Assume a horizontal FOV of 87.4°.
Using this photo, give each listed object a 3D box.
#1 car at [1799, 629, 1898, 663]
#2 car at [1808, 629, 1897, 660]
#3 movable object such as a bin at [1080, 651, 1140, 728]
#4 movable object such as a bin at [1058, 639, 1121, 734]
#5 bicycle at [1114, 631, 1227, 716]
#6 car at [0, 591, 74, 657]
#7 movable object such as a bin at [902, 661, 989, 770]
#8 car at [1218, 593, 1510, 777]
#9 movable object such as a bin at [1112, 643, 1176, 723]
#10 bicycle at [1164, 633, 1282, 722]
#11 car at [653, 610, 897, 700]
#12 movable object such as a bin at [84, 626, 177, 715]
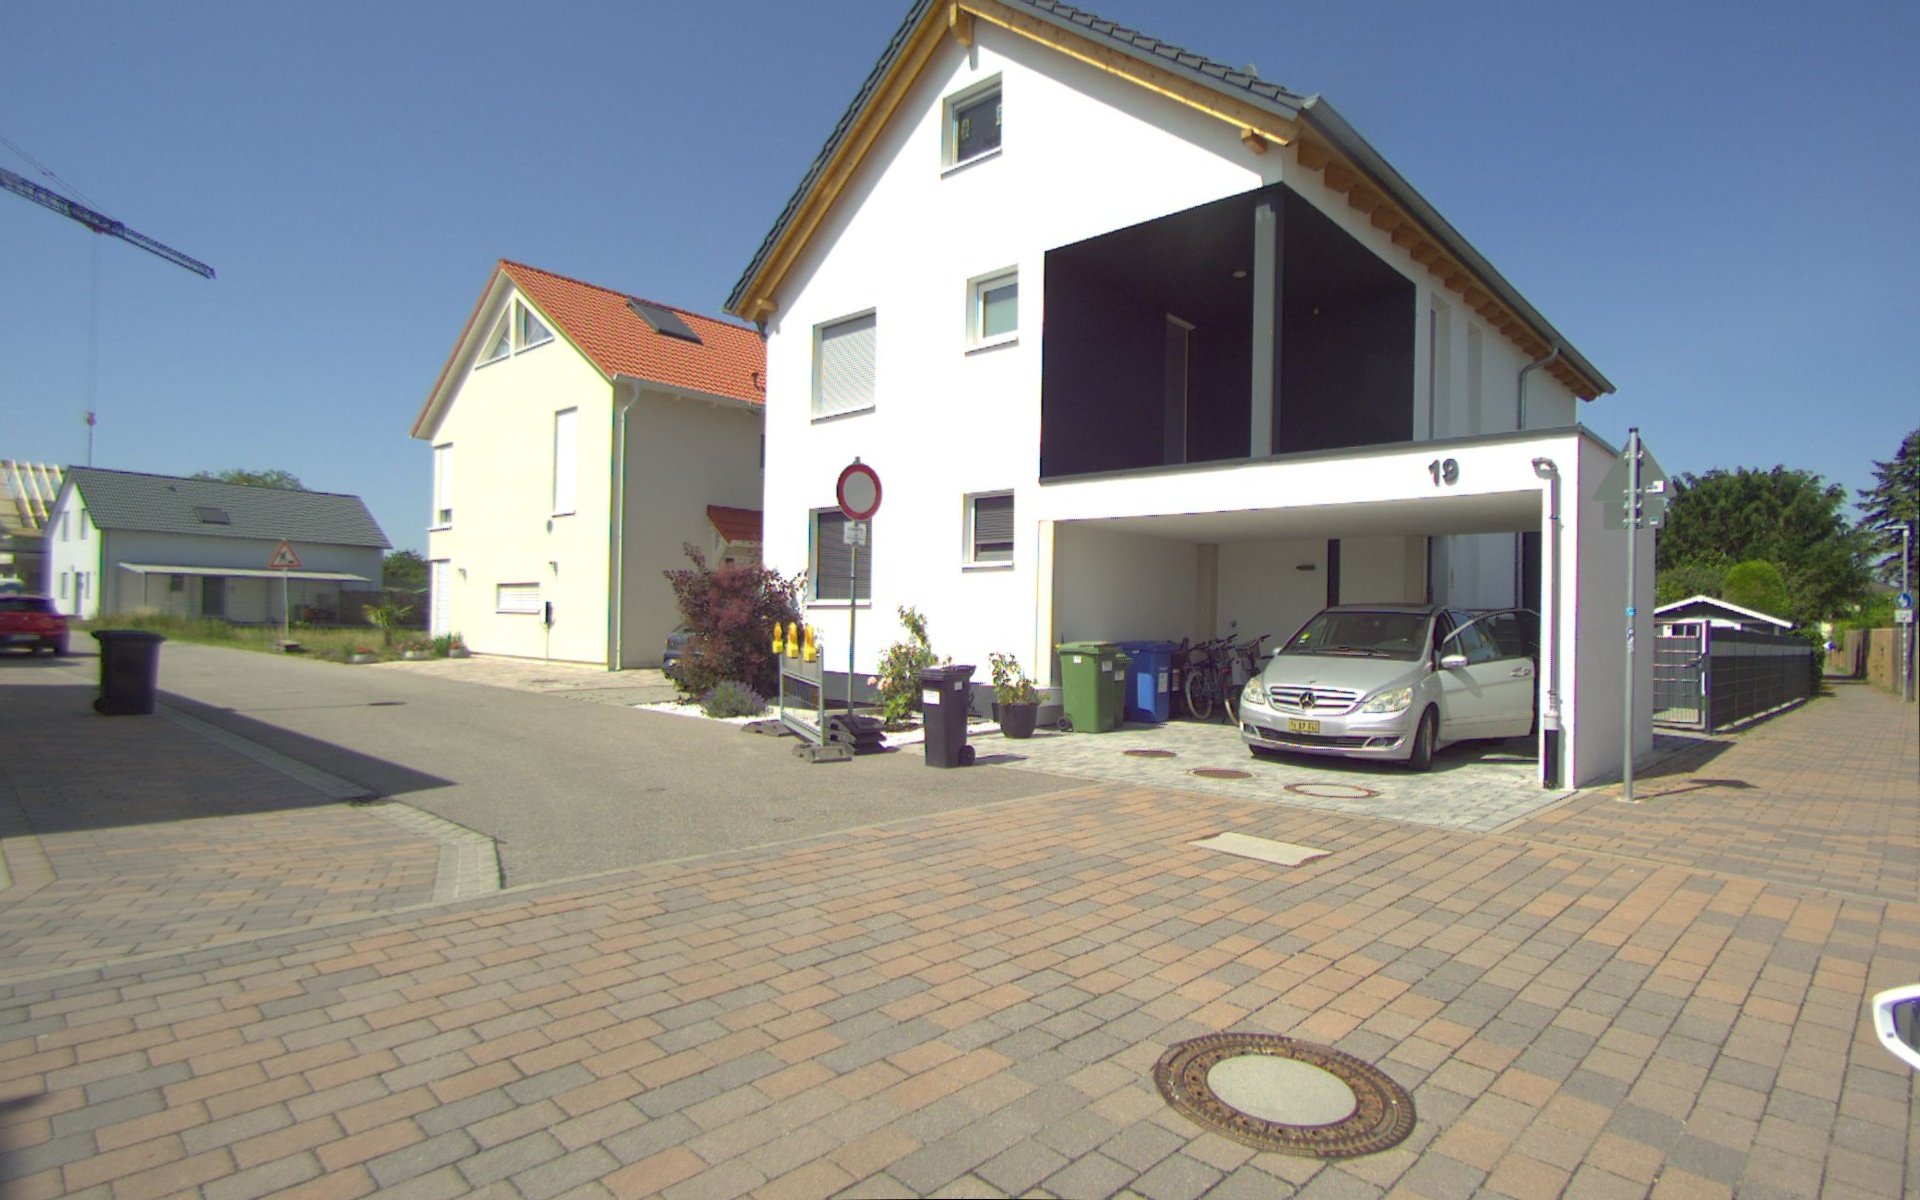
[{"bbox_3d":[49.826,2.555,56.404,4.102,1.739,1.895,0,-1,43],"label":"car"},{"bbox_3d":[55.692,2.752,62.753,4.102,1.739,1.895,0,-1,43],"label":"car"},{"bbox_3d":[1.905,1.119,12.716,0.553,0.917,0.497,2,0,41],"label":"movable object such as a bin"},{"bbox_3d":[1.578,1.038,12.249,0.593,1.106,0.497,-1,-2,41],"label":"movable object such as a bin"},{"bbox_3d":[3.151,1.043,14.879,0.767,1.141,2.125,2,0,37],"label":"bicycle"},{"bbox_3d":[-23.522,0.549,24.872,3.941,1.498,1.903,2,0,41],"label":"car"},{"bbox_3d":[-0.136,1.073,9.506,0.556,0.949,0.615,0,-1,41],"label":"movable object such as a bin"},{"bbox_3d":[4.493,0.802,10.788,1.719,1.582,4.146,0,-2,40],"label":"car"},{"bbox_3d":[2.466,1.095,13.465,0.667,1.000,0.497,2,0,41],"label":"movable object such as a bin"},{"bbox_3d":[3.765,1.060,14.252,0.720,1.141,2.122,2,0,42],"label":"bicycle"},{"bbox_3d":[-3.159,0.915,17.754,1.730,1.399,4.039,0,-1,42],"label":"car"},{"bbox_3d":[-10.641,0.879,12.894,0.581,1.079,0.820,2,0,41],"label":"movable object such as a bin"}]
